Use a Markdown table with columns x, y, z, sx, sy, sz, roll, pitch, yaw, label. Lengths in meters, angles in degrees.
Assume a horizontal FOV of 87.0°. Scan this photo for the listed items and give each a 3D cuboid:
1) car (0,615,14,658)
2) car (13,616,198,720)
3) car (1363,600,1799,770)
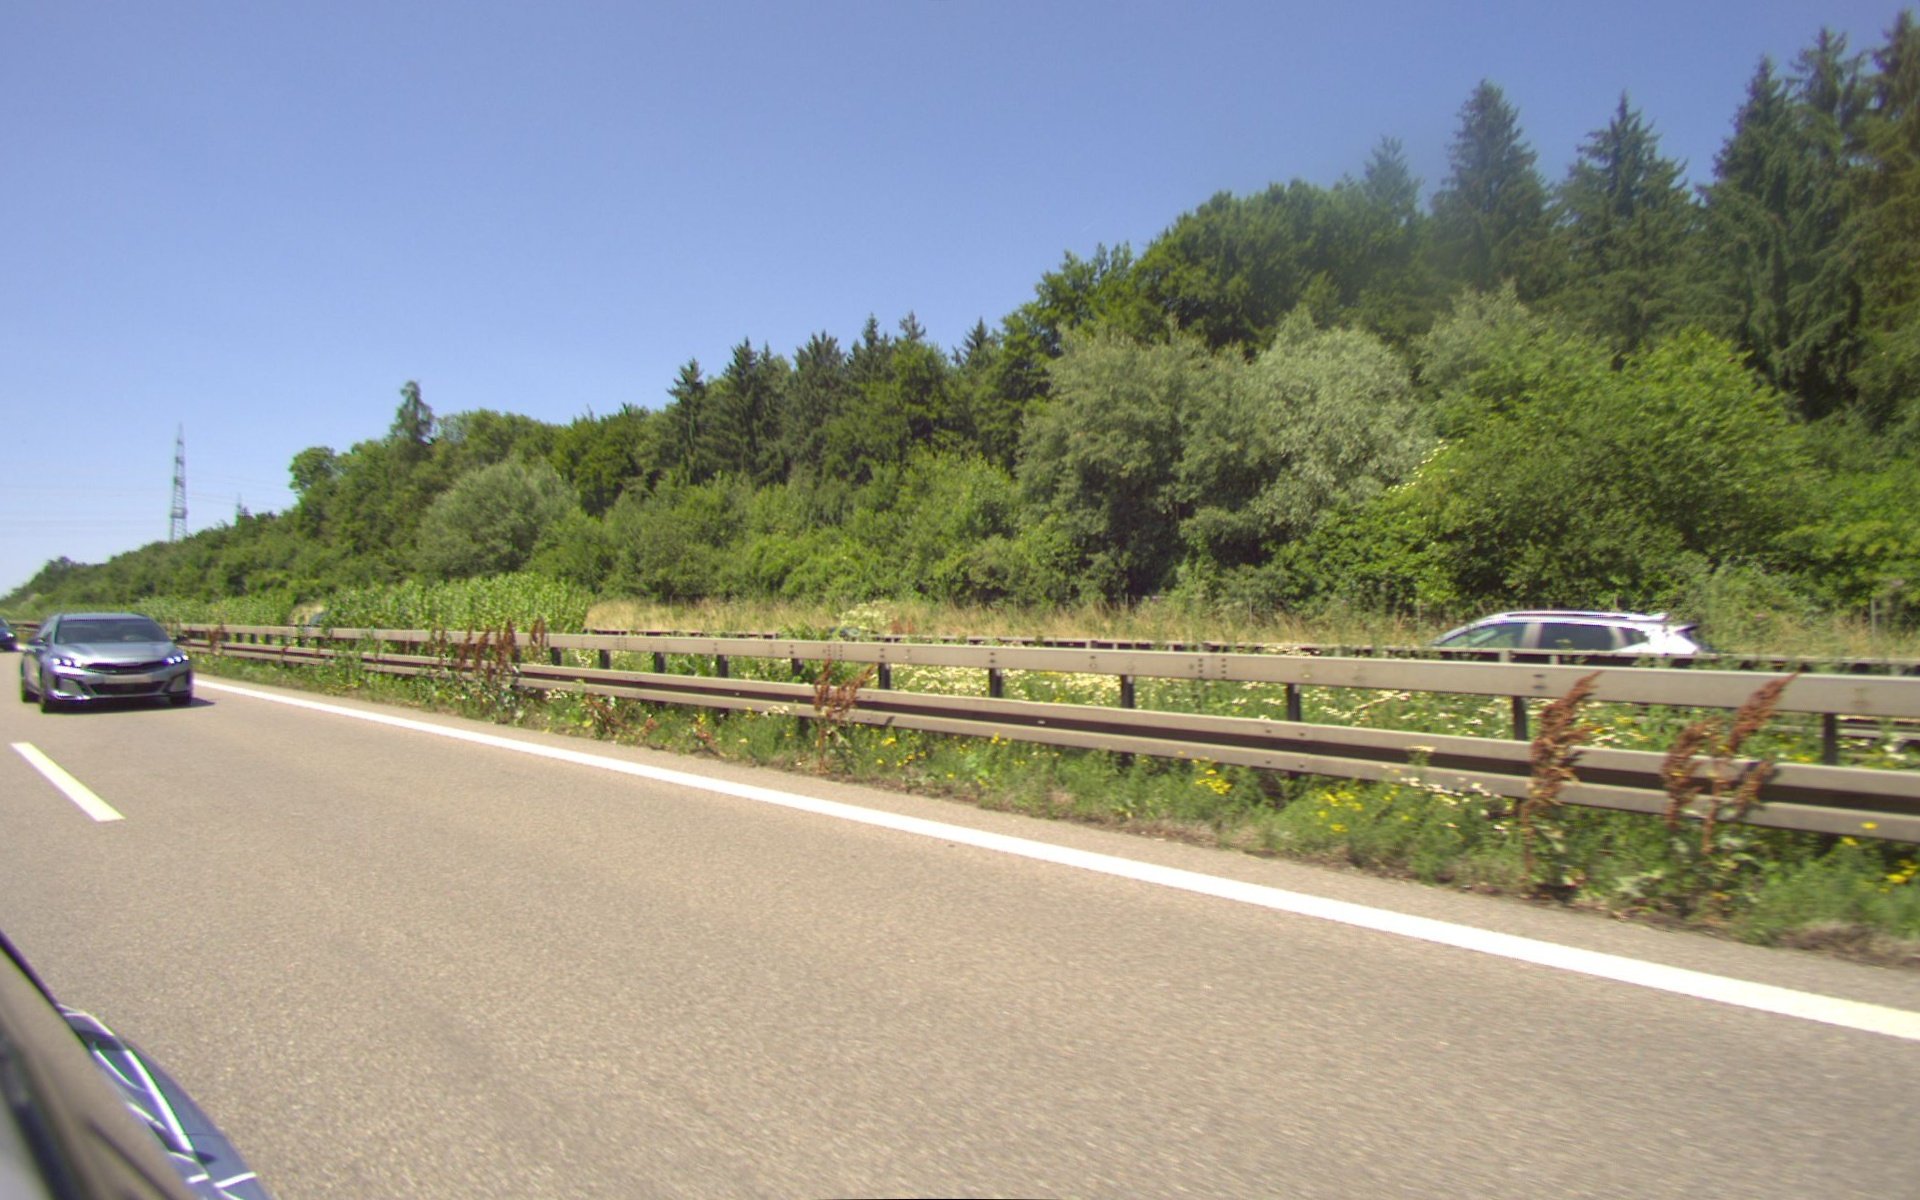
| x | y | z | sx | sy | sz | roll | pitch | yaw | label |
| --- | --- | --- | --- | --- | --- | --- | --- | --- | --- |
| -38.595 | 1.446 | 39.761 | 3.941 | 1.632 | 1.719 | -1 | -1 | 41 | car |
| -13.600 | 0.980 | 16.034 | 3.998 | 1.419 | 1.745 | -1 | -1 | 42 | car |
| 6.560 | 0.791 | 10.917 | 3.785 | 1.515 | 1.639 | -1 | -1 | 41 | car |
